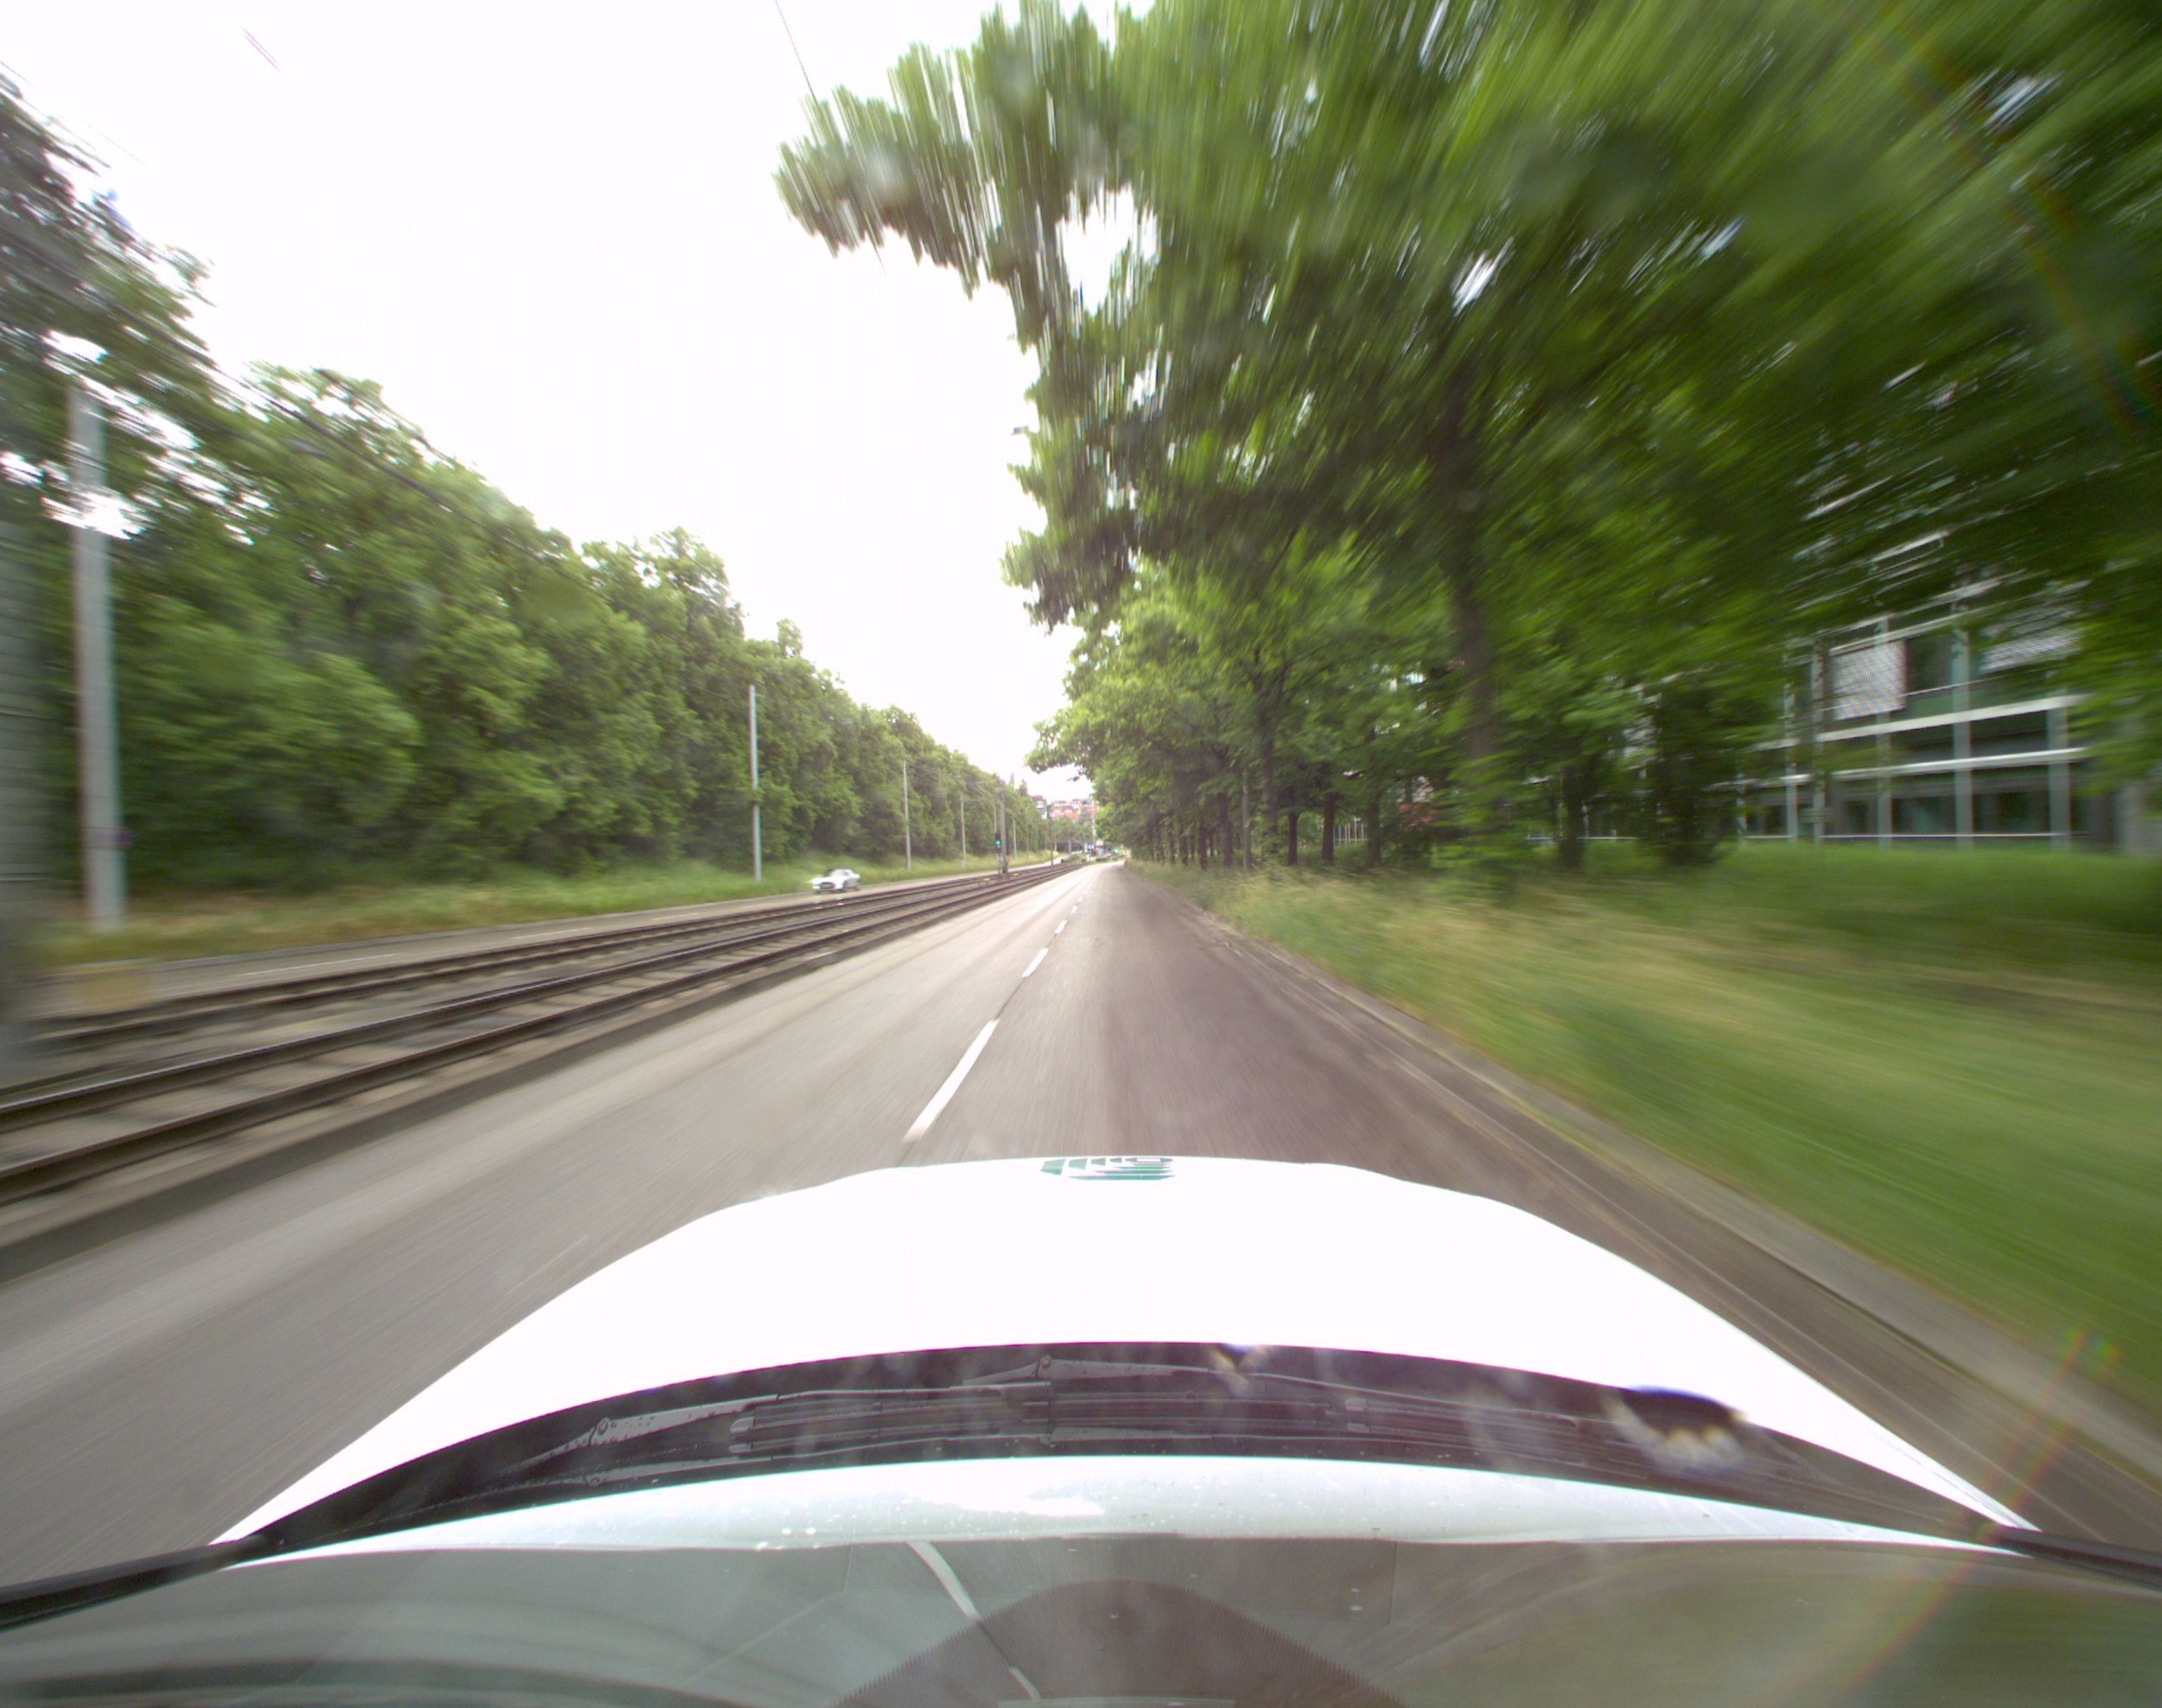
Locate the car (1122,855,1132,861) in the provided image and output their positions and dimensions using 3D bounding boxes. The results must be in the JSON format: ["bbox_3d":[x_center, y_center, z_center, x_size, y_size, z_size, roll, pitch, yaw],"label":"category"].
[{"bbox_3d":[10.971,0.980,194.697,2.186,1.329,4.002,-1,1,2],"label":"car"}]

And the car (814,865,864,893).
[{"bbox_3d":[-13.936,1.414,47.119,1.470,1.436,3.912,-3,0,2],"label":"car"}]
